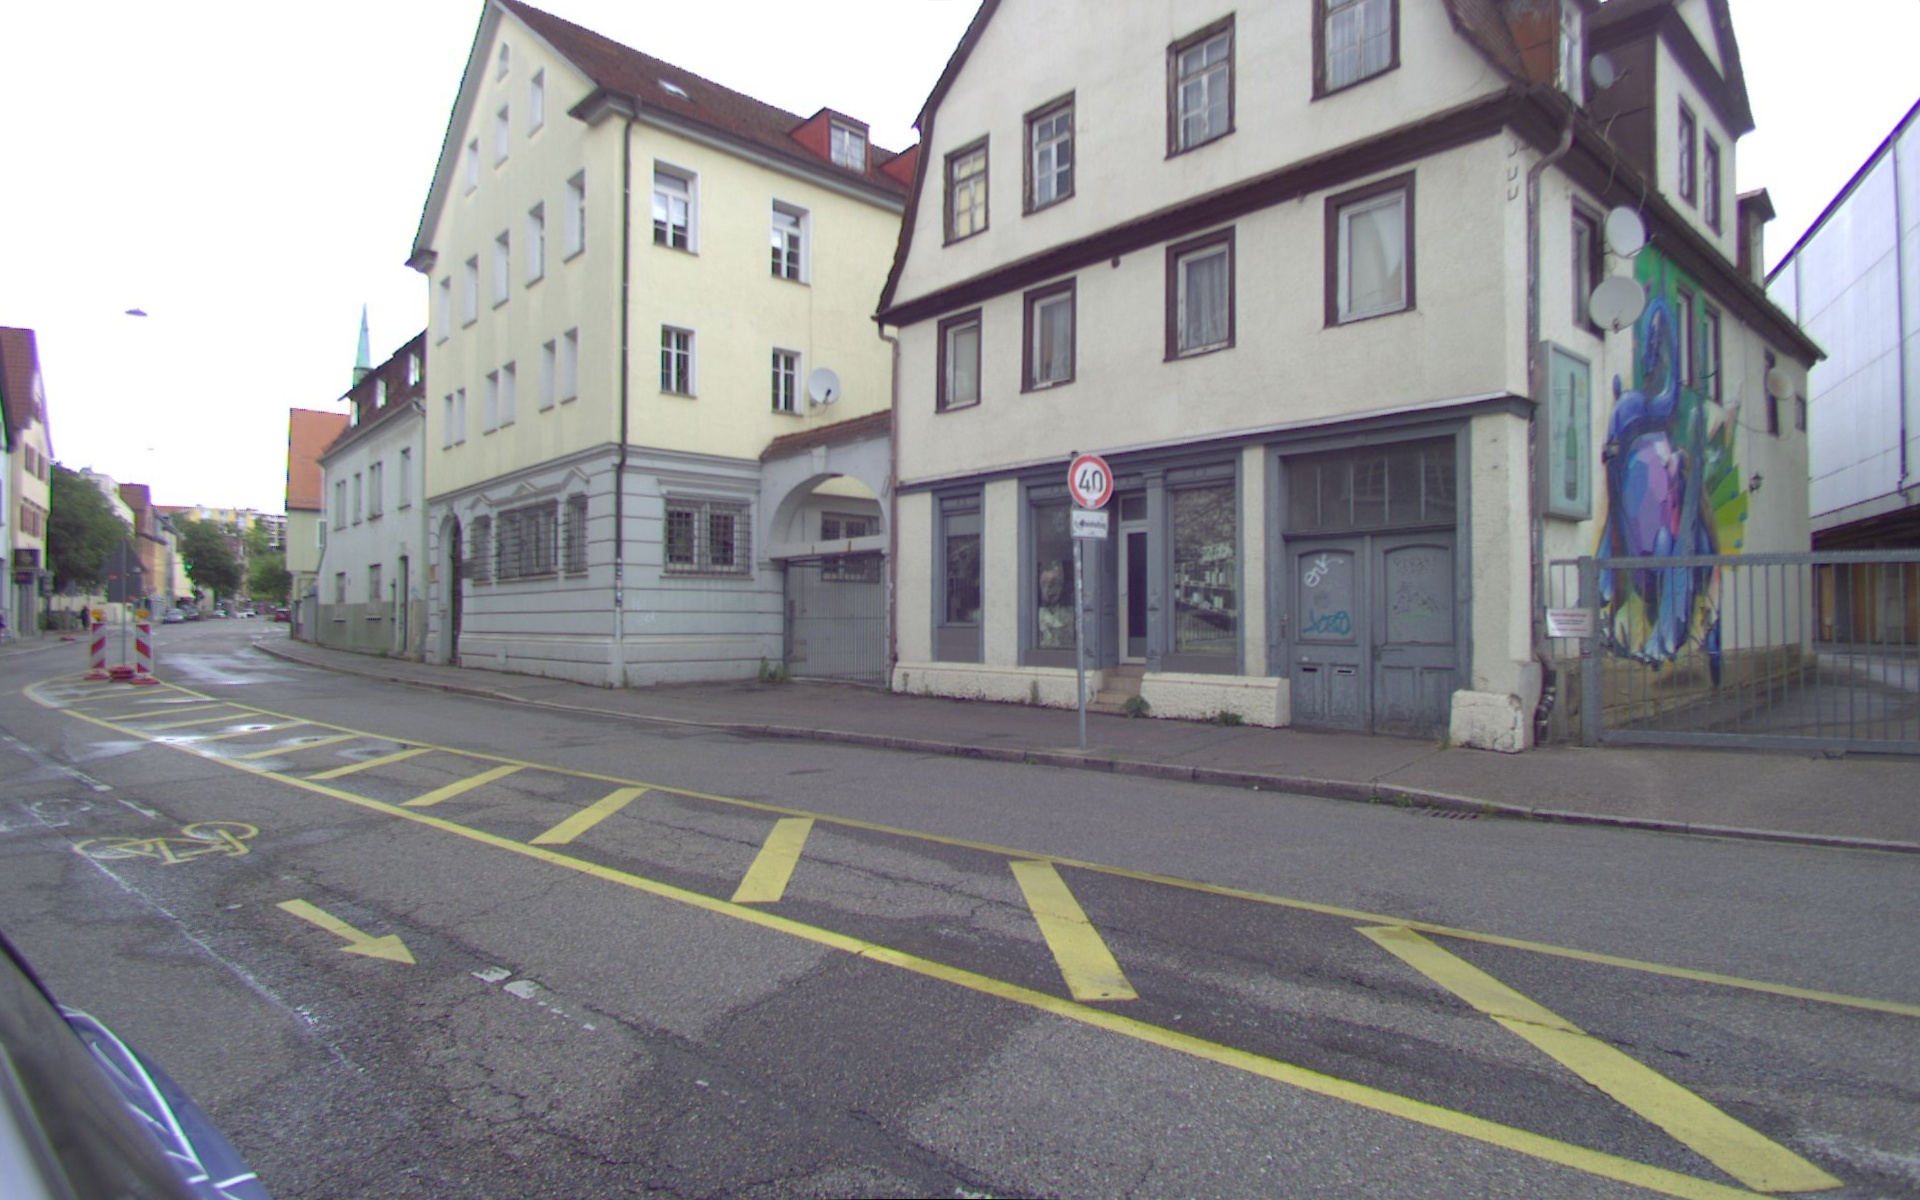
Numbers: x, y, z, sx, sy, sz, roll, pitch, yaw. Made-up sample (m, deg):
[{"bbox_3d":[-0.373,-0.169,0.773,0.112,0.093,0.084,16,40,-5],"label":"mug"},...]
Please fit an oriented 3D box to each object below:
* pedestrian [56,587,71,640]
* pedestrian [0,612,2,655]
[{"bbox_3d":[-43.755,0.652,49.385,0.487,2.547,0.747,1,-2,-38],"label":"pedestrian"},{"bbox_3d":[-36.628,1.263,38.136,0.714,1.626,0.650,0,-2,-38],"label":"pedestrian"}]
